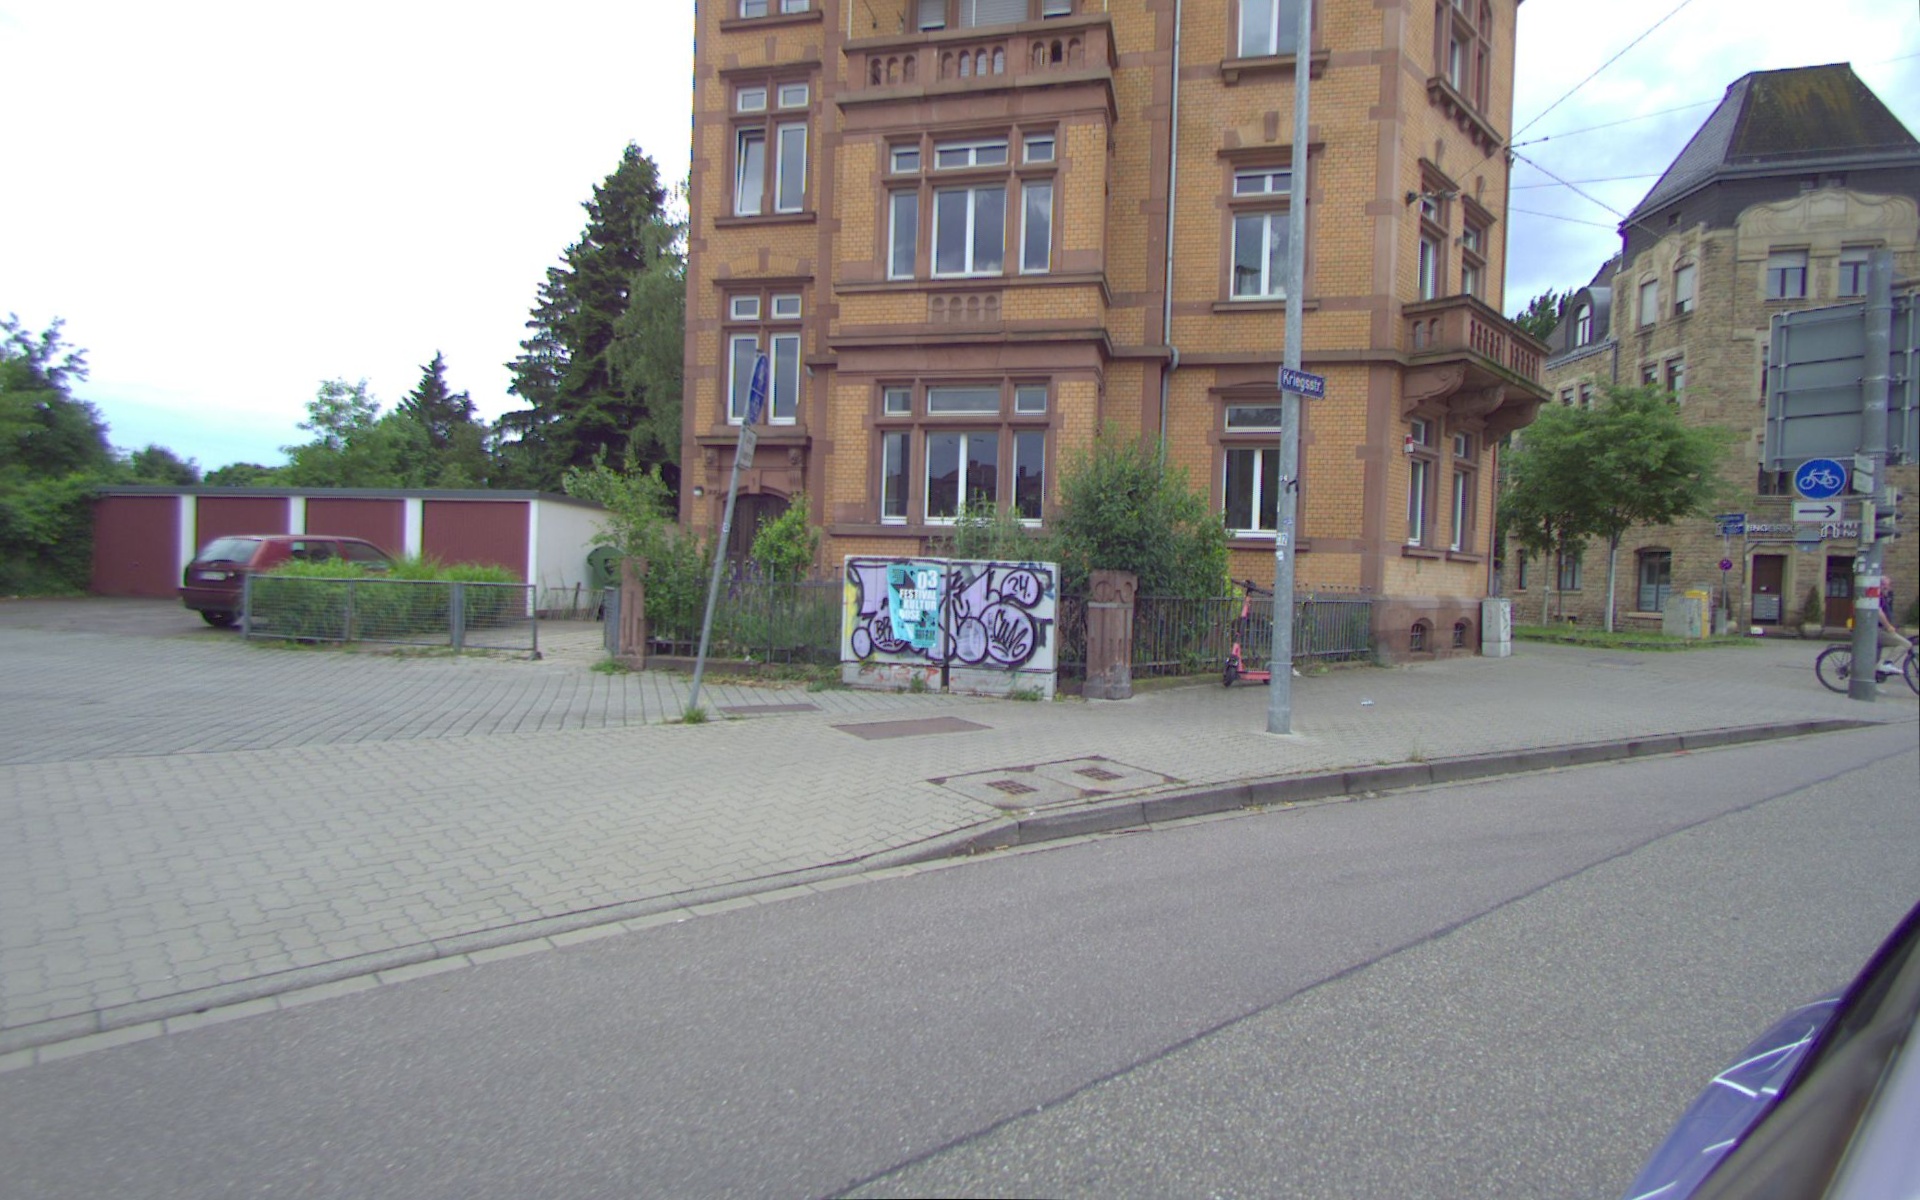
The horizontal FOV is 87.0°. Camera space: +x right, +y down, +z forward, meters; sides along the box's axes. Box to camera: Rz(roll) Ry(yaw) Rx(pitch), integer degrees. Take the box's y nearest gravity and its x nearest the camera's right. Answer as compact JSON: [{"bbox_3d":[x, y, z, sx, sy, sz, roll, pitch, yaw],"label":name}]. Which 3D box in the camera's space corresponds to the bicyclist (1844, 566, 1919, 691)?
[{"bbox_3d":[14.094,0.412,15.320,0.672,1.818,0.887,2,0,13],"label":"bicyclist"}]

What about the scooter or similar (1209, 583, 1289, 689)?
[{"bbox_3d":[3.359,0.395,11.731,0.376,1.155,1.181,3,2,42],"label":"scooter or similar"}]

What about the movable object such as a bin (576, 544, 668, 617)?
[{"bbox_3d":[-6.910,-0.403,20.755,1.144,1.407,1.454,2,1,18],"label":"movable object such as a bin"}]

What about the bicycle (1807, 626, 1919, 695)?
[{"bbox_3d":[14.053,0.914,15.200,1.840,0.935,0.793,2,1,13],"label":"bicycle"}]

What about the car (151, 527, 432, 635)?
[{"bbox_3d":[-10.420,-0.359,16.067,1.669,1.469,3.467,3,3,18],"label":"car"}]
